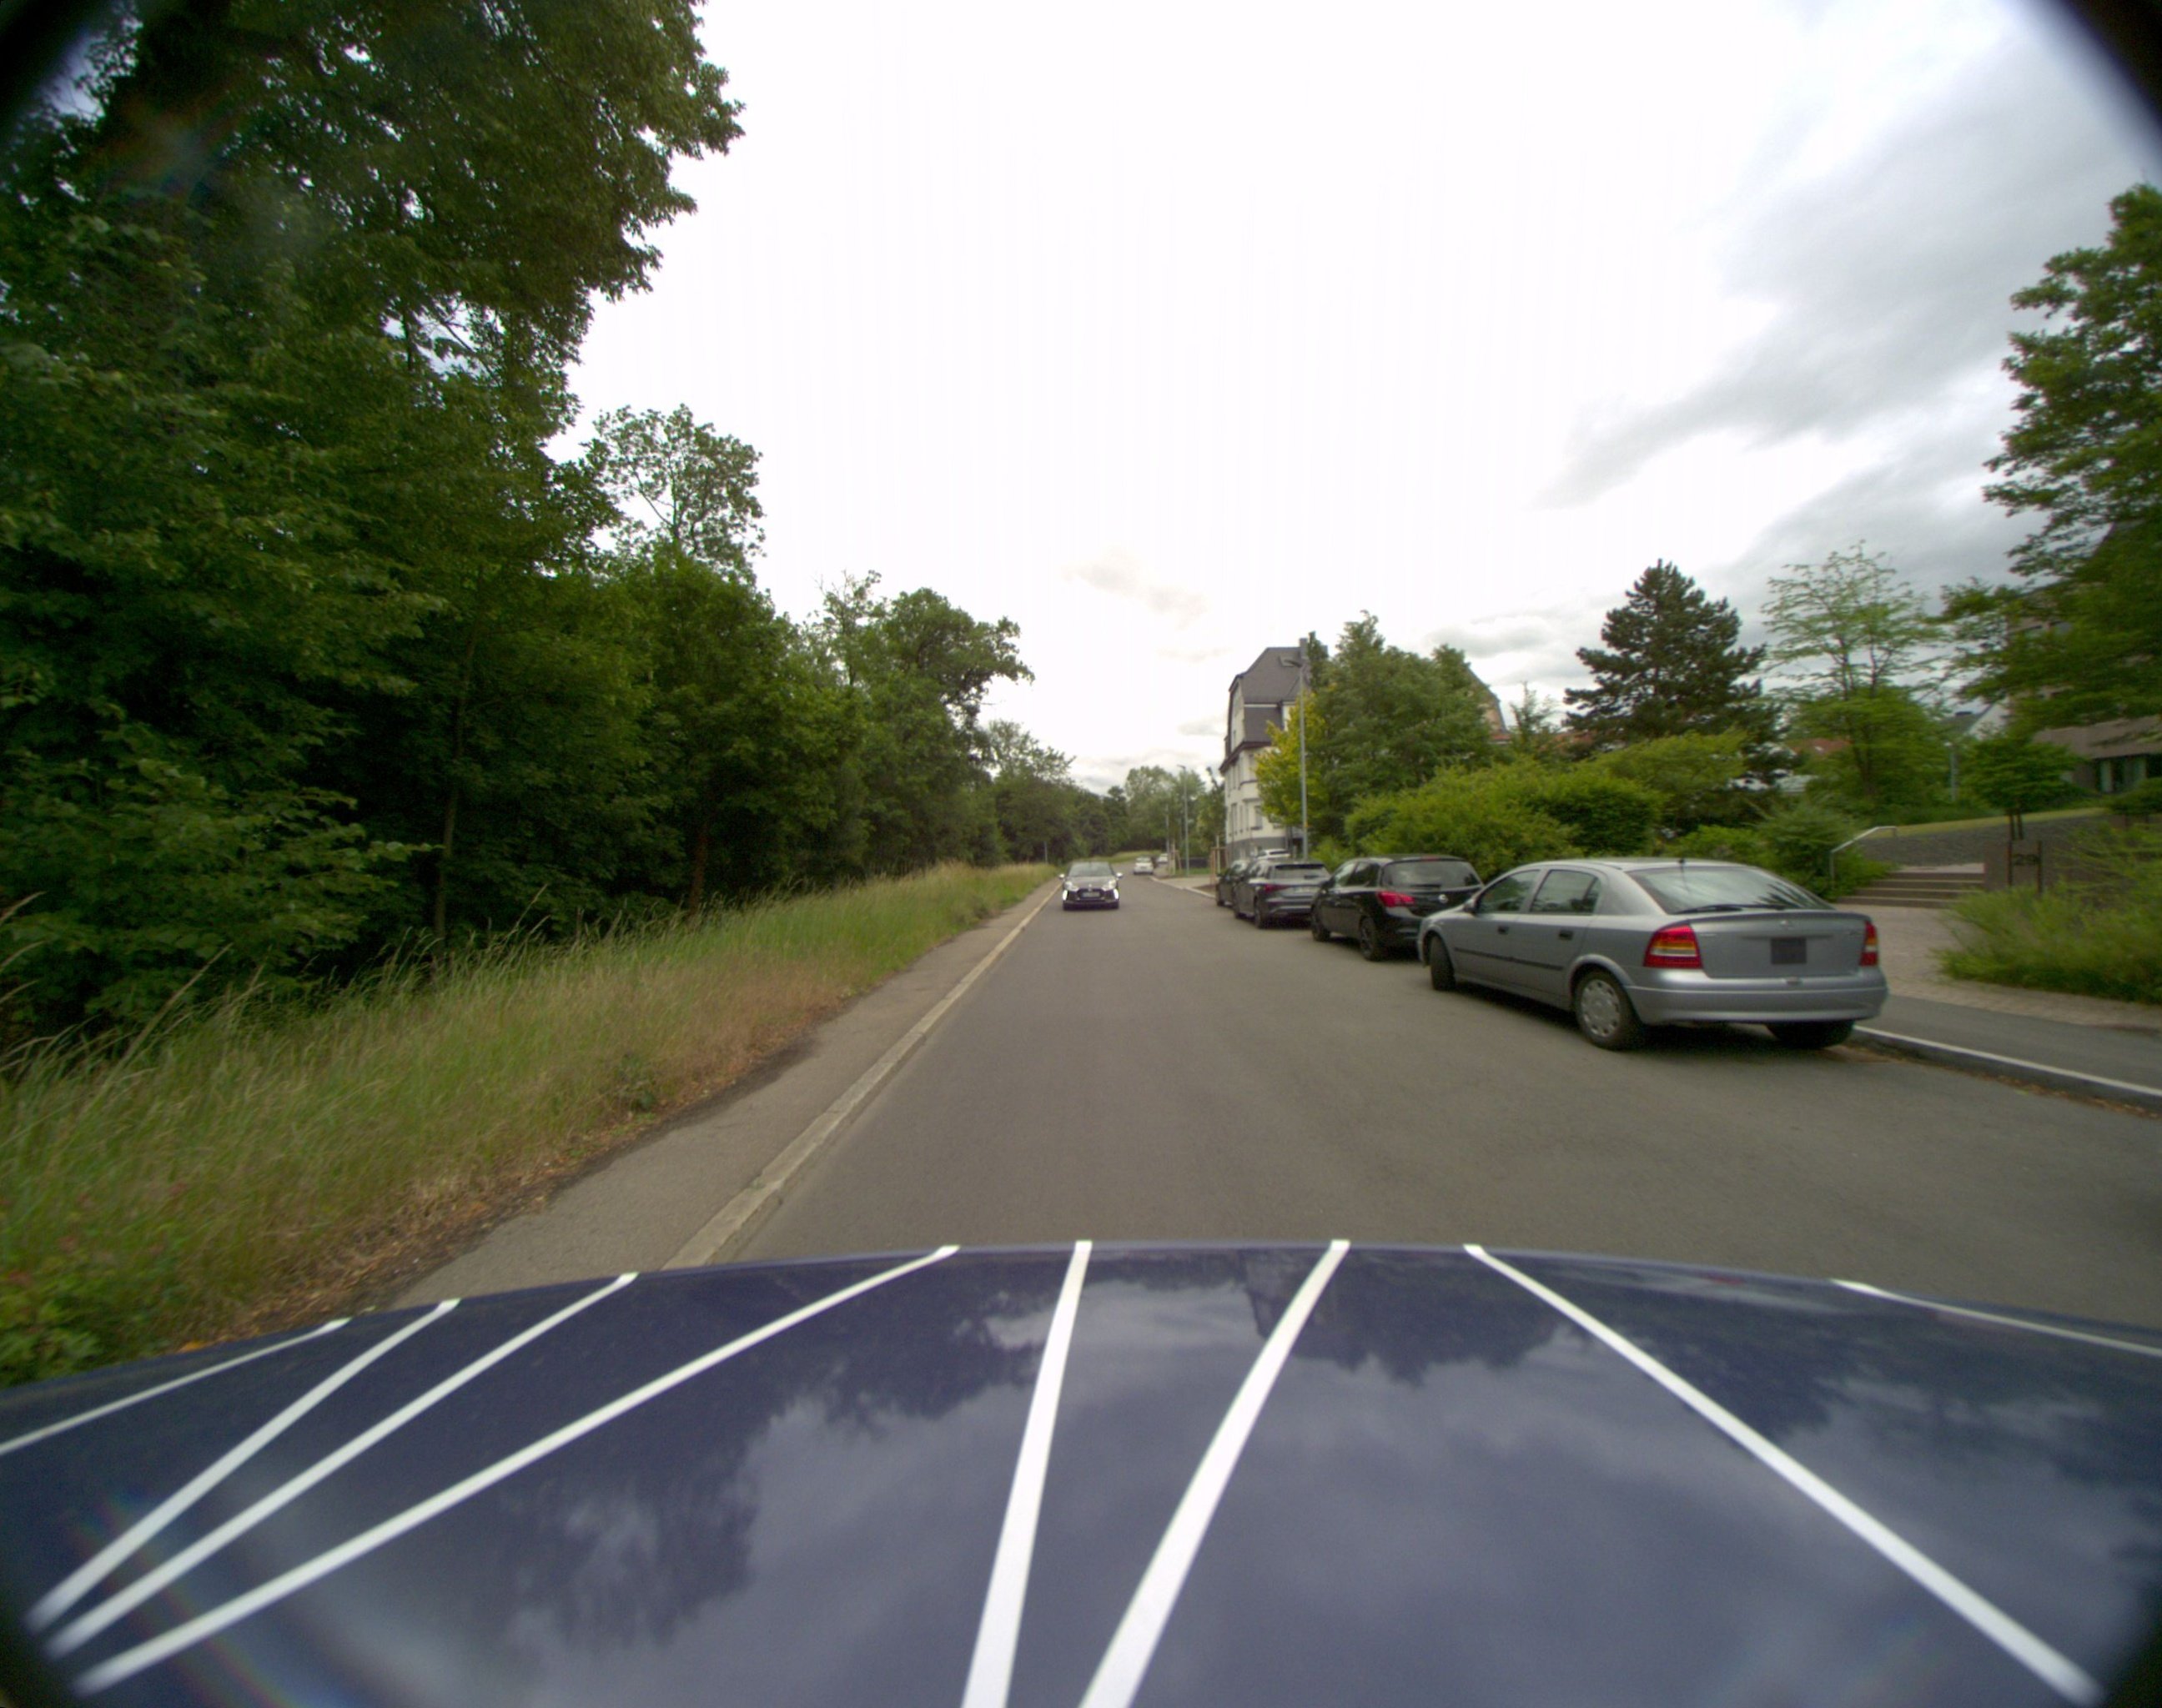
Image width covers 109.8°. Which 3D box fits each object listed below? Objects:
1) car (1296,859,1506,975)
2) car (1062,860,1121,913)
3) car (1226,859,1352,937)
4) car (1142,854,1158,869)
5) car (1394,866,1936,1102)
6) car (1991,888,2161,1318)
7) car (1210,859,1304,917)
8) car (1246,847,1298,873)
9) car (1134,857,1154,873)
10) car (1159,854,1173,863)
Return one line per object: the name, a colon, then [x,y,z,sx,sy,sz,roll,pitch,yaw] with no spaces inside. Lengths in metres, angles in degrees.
car: [4.726,0.835,11.876,1.628,1.473,4.000,-1,0,1]
car: [0.403,0.922,23.130,1.619,1.460,4.001,1,0,3]
car: [4.493,0.880,17.103,1.710,1.473,4.496,-1,0,2]
car: [8.866,0.933,97.163,1.799,1.790,4.066,0,1,8]
car: [4.594,0.856,6.984,1.628,1.423,4.351,-1,0,0]
car: [4.554,0.835,0.494,1.783,1.423,5.105,-2,0,0]
car: [4.974,0.900,22.067,1.687,1.473,4.693,-1,0,1]
car: [12.669,0.361,50.666,1.911,1.524,4.595,-4,1,-4]
car: [5.699,0.990,68.993,1.646,1.461,4.072,0,0,4]
car: [13.474,0.672,120.391,1.735,1.420,3.460,0,1,12]
